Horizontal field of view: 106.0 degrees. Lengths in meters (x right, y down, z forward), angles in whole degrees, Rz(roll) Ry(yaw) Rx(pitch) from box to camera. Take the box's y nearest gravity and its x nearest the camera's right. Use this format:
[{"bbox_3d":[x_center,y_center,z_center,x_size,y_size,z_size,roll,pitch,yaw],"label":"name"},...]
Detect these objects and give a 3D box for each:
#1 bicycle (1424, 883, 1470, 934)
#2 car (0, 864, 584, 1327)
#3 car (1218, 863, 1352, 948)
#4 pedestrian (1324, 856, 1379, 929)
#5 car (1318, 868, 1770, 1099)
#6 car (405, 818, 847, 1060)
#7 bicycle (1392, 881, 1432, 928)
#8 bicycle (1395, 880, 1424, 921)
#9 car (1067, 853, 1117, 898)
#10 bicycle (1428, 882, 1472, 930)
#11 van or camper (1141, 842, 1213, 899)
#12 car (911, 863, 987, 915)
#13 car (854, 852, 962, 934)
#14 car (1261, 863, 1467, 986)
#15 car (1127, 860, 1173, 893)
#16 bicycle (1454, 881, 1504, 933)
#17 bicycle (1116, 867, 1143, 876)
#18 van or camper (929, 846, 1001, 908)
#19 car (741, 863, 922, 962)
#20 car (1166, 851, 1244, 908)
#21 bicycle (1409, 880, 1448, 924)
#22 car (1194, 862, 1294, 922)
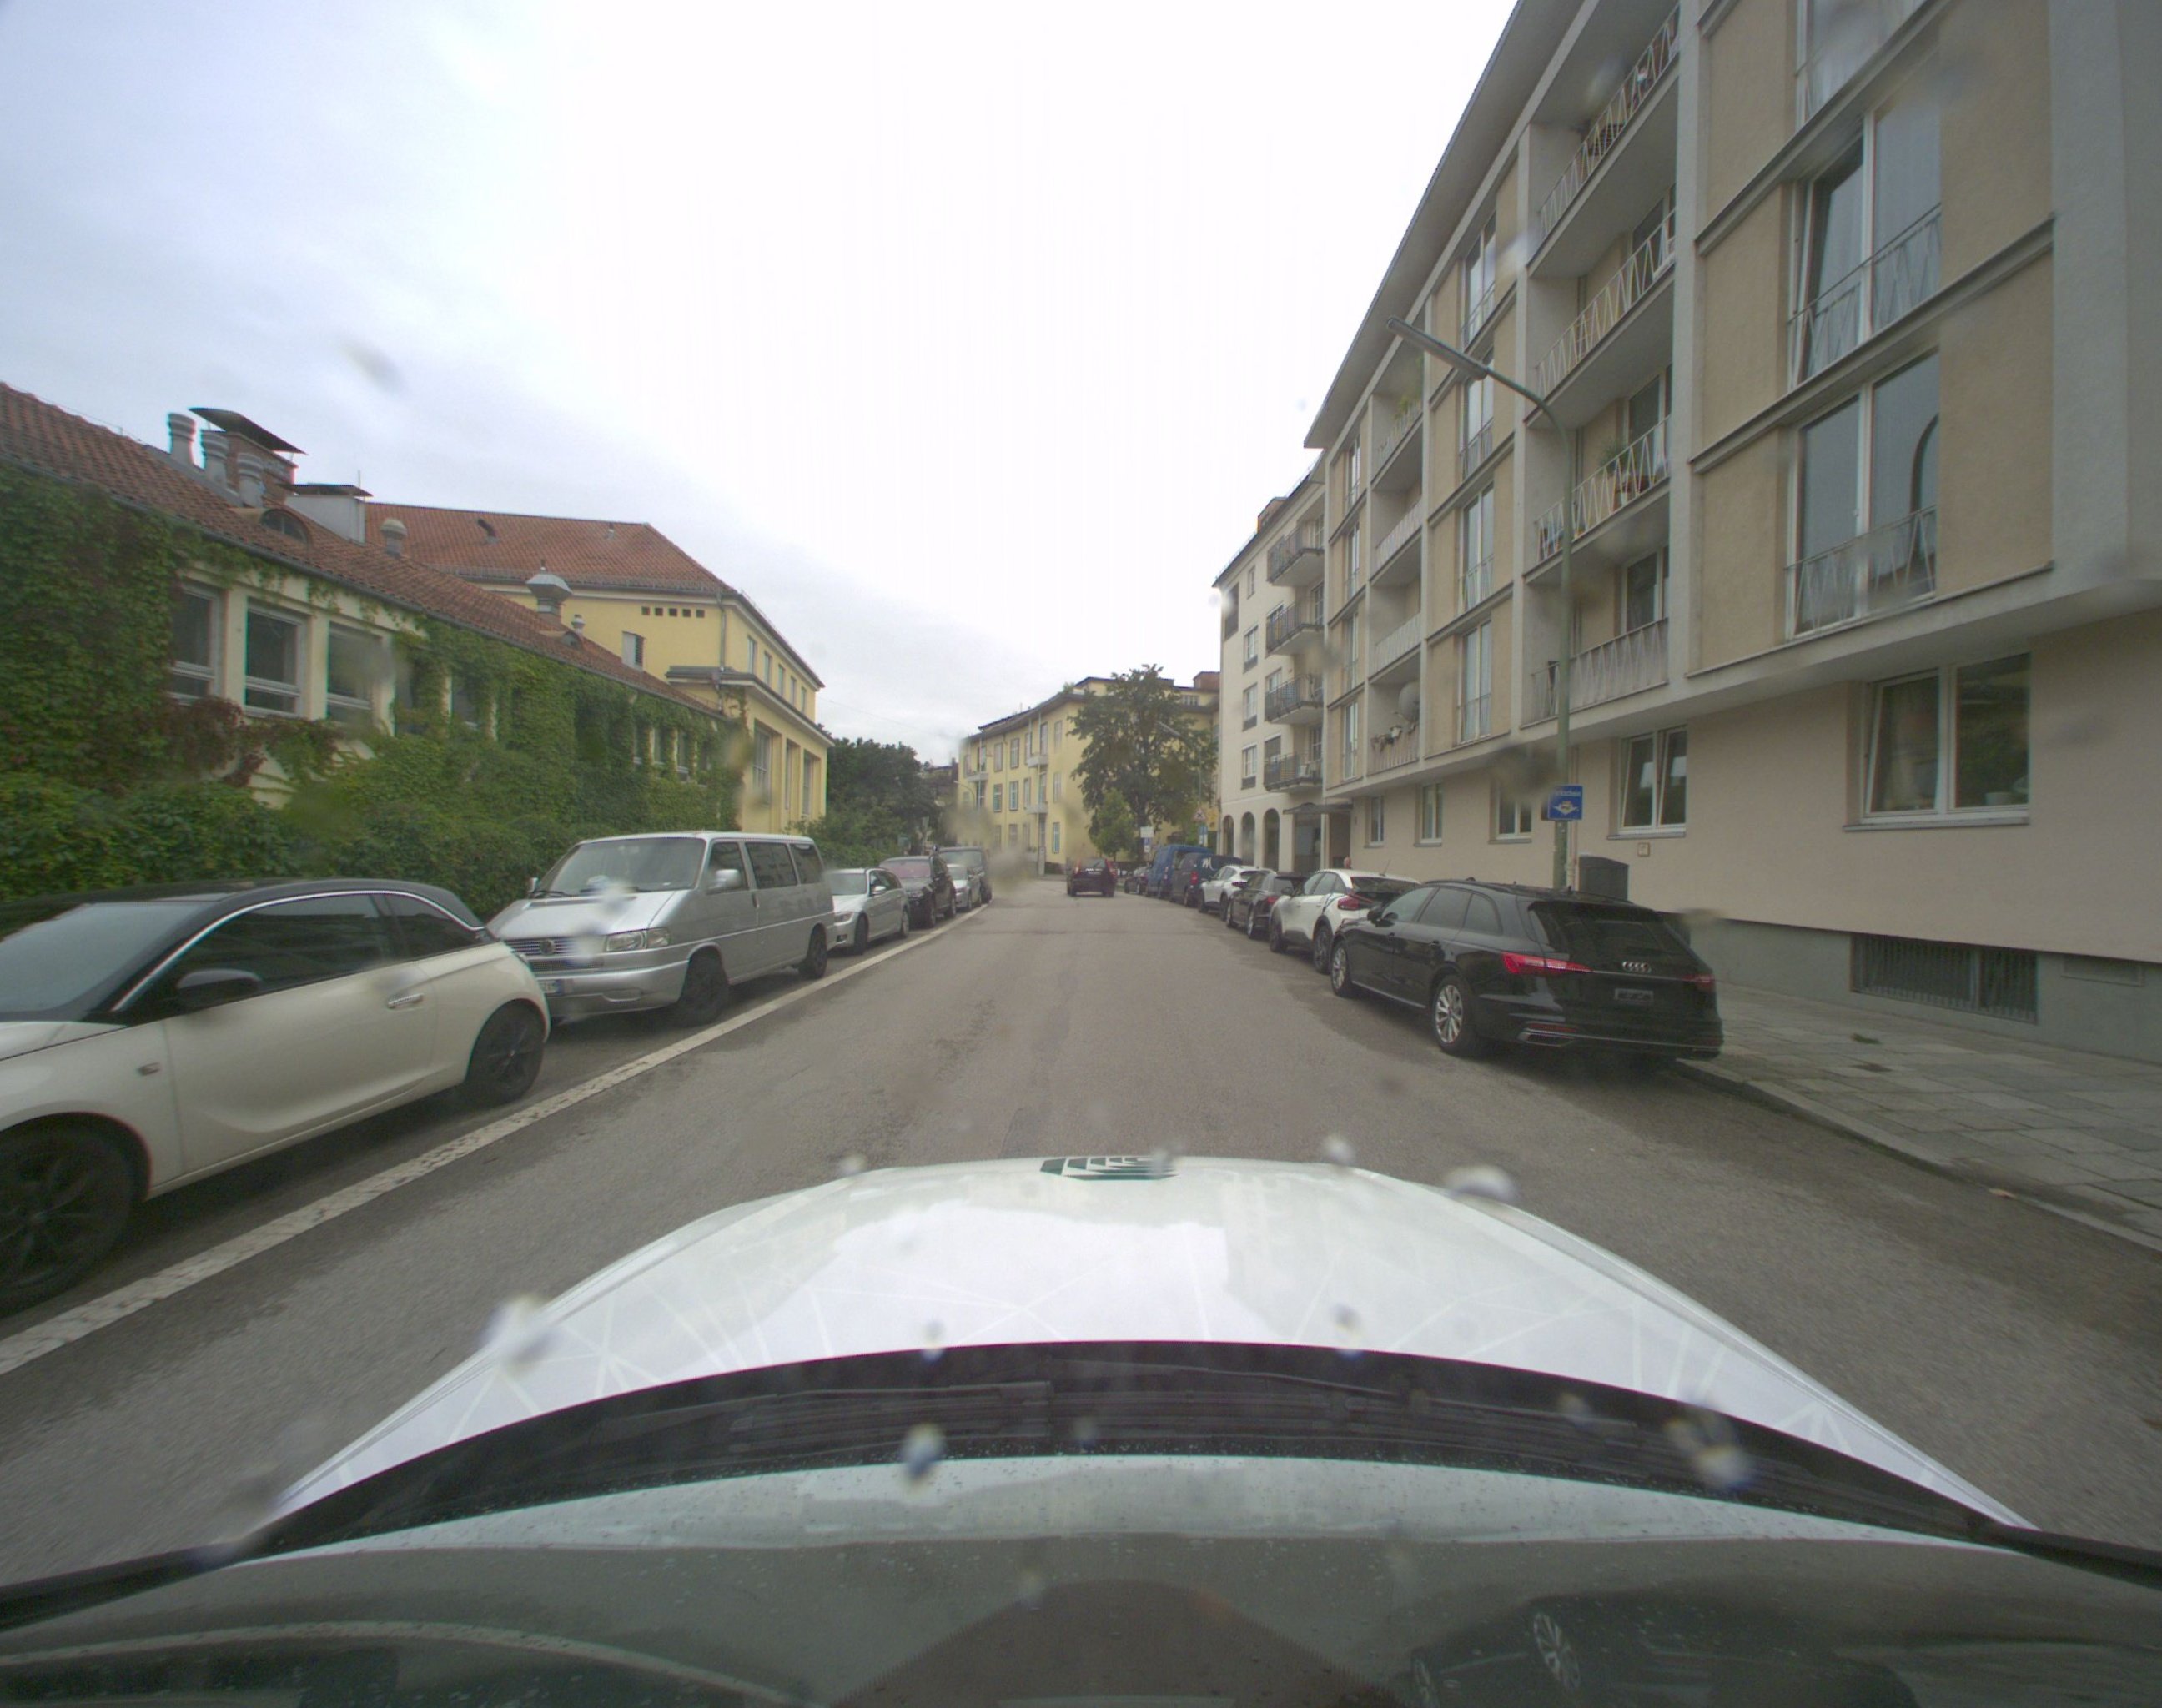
[{"bbox_3d":[8.014,1.182,17.868,0.388,1.024,1.401,-1,0,1],"label":"bicycle"},{"bbox_3d":[-4.372,0.849,3.925,1.573,1.492,3.730,-2,0,0],"label":"car"},{"bbox_3d":[4.280,1.009,17.780,1.733,1.499,4.494,3,0,0],"label":"car"},{"bbox_3d":[6.476,0.900,19.564,0.895,1.687,1.319,0,-1,0],"label":"pedestrian"},{"bbox_3d":[3.902,0.949,7.943,1.790,1.420,4.482,4,0,0],"label":"car"},{"bbox_3d":[-4.389,0.702,8.994,1.986,1.875,4.761,-3,0,2],"label":"car"},{"bbox_3d":[7.880,1.182,19.422,0.388,1.024,1.401,-1,0,1],"label":"bicycle"},{"bbox_3d":[8.665,1.217,21.517,0.372,1.024,1.002,-1,0,1],"label":"bicycle"},{"bbox_3d":[0.538,0.857,34.978,1.987,1.694,4.383,-2,1,2],"label":"car"},{"bbox_3d":[8.521,1.178,18.852,0.388,1.024,1.401,-1,0,1],"label":"bicycle"},{"bbox_3d":[4.044,0.647,35.171,2.057,2.231,5.429,-1,0,-4],"label":"van or camper"},{"bbox_3d":[-3.979,1.014,25.110,1.614,1.378,4.071,-2,0,0],"label":"car"},{"bbox_3d":[-4.070,0.851,19.865,1.614,1.730,4.424,-2,0,0],"label":"car"},{"bbox_3d":[4.230,0.966,12.925,1.733,1.499,4.218,3,0,0],"label":"car"},{"bbox_3d":[3.422,1.080,41.035,1.700,1.518,3.953,-1,0,-4],"label":"car"},{"bbox_3d":[8.460,1.101,17.350,0.388,1.024,1.401,-1,0,1],"label":"bicycle"},{"bbox_3d":[4.254,1.509,71.415,2.194,0.779,0.612,1,-1,14],"label":"bicycle"},{"bbox_3d":[-4.165,0.782,30.022,1.955,2.065,4.751,-2,0,-1],"label":"van or camper"},{"bbox_3d":[-4.259,0.918,14.692,1.695,1.423,4.427,-3,0,2],"label":"car"},{"bbox_3d":[4.327,0.842,29.188,1.958,1.816,4.933,-1,0,-1],"label":"car"},{"bbox_3d":[8.638,1.182,20.301,0.388,1.024,1.401,-1,0,1],"label":"bicycle"},{"bbox_3d":[4.554,1.014,23.390,1.736,1.537,4.266,0,0,-4],"label":"car"}]
